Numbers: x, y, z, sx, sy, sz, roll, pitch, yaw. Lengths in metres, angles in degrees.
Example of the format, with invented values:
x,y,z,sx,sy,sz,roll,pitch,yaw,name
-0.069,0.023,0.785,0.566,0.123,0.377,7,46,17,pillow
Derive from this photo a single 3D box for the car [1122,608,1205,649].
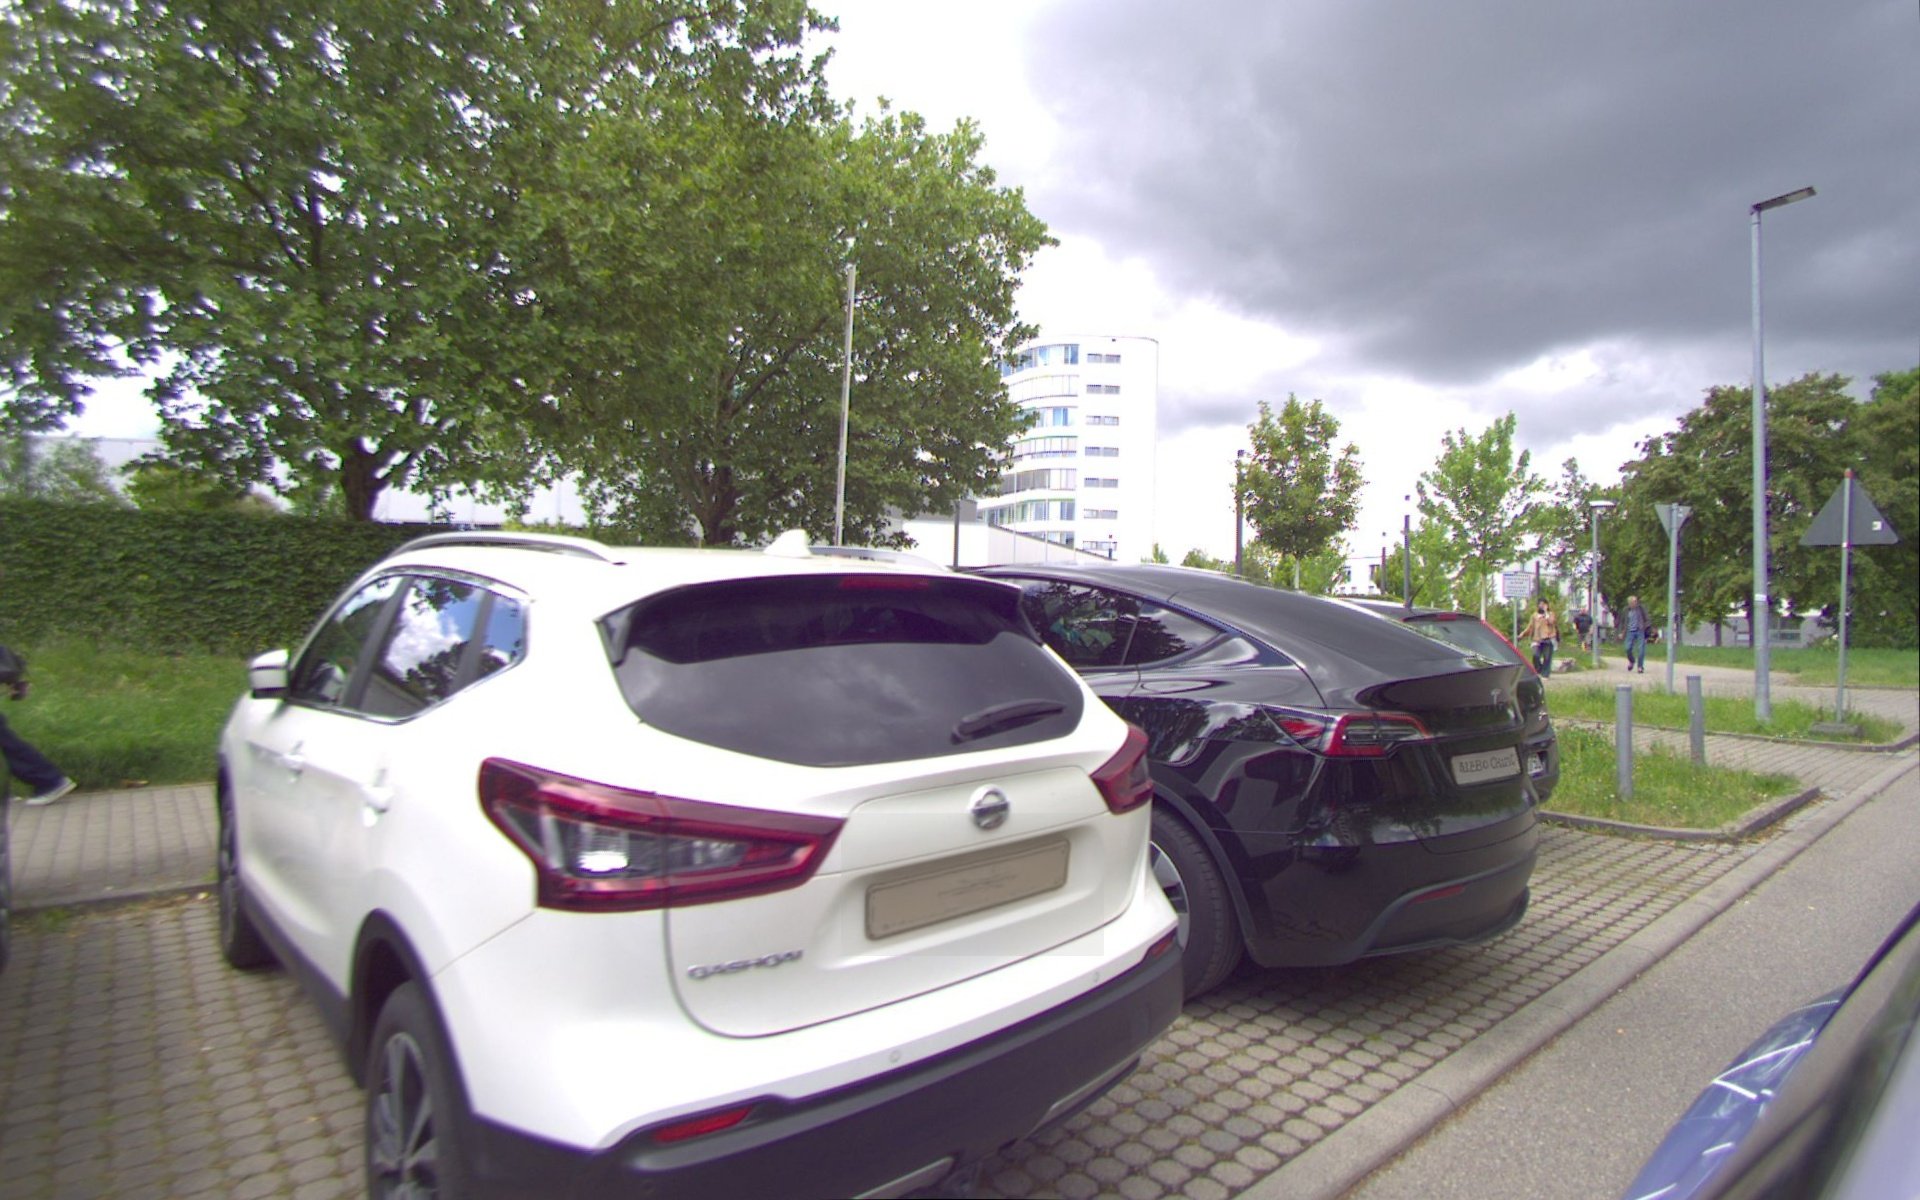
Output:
x,y,z,sx,sy,sz,roll,pitch,yaw,name
10.724,1.484,53.292,3.958,2.039,1.982,0,-1,25,car

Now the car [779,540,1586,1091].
x,y,z,sx,sy,sz,roll,pitch,yaw,name
0.679,0.605,4.878,1.564,1.594,3.680,0,0,-37,car

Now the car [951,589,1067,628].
x,y,z,sx,sy,sz,roll,pitch,yaw,name
1.846,0.322,38.504,4.084,1.408,1.691,0,-1,30,car

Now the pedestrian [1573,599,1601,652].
x,y,z,sx,sy,sz,roll,pitch,yaw,name
19.642,0.794,31.713,0.630,1.665,0.599,0,-2,22,pedestrian

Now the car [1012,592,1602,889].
x,y,z,sx,sy,sz,roll,pitch,yaw,name
2.178,0.724,7.169,1.615,1.517,3.680,1,-1,-37,car

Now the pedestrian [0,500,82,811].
x,y,z,sx,sy,sz,roll,pitch,yaw,name
-5.930,0.323,6.122,0.862,1.816,0.741,2,-2,-39,pedestrian

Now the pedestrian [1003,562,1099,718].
x,y,z,sx,sy,sz,roll,pitch,yaw,name
0.907,0.384,10.124,0.722,1.487,0.620,2,-2,-39,pedestrian

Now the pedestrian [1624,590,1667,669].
x,y,z,sx,sy,sz,roll,pitch,yaw,name
15.413,0.658,22.776,0.757,1.744,0.876,0,-2,31,pedestrian

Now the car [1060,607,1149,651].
x,y,z,sx,sy,sz,roll,pitch,yaw,name
7.099,1.385,49.629,3.958,2.039,1.982,0,-1,25,car

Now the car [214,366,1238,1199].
x,y,z,sx,sy,sz,roll,pitch,yaw,name
-1.200,0.554,3.228,1.817,1.668,3.680,1,0,-37,car

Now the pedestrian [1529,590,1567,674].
x,y,z,sx,sy,sz,roll,pitch,yaw,name
12.135,0.647,20.877,0.647,1.690,0.887,0,-2,31,pedestrian

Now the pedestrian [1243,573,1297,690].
x,y,z,sx,sy,sz,roll,pitch,yaw,name
4.559,0.453,14.858,0.681,1.642,0.924,0,-1,23,pedestrian

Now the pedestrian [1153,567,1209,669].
x,y,z,sx,sy,sz,roll,pitch,yaw,name
3.871,0.318,17.718,0.692,1.733,0.656,2,-2,-33,pedestrian

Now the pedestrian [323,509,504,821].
x,y,z,sx,sy,sz,roll,pitch,yaw,name
-3.490,0.384,6.465,0.862,1.816,0.741,2,-2,-39,pedestrian

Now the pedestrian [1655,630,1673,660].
x,y,z,sx,sy,sz,roll,pitch,yaw,name
33.933,2.161,48.792,0.670,1.433,0.660,0,-2,30,pedestrian

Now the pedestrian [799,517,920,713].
x,y,z,sx,sy,sz,roll,pitch,yaw,name
-0.993,0.145,9.986,0.862,1.816,0.832,2,-2,-39,pedestrian

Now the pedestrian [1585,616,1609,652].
x,y,z,sx,sy,sz,roll,pitch,yaw,name
28.545,1.516,45.386,0.654,1.627,0.676,1,-2,-29,pedestrian
